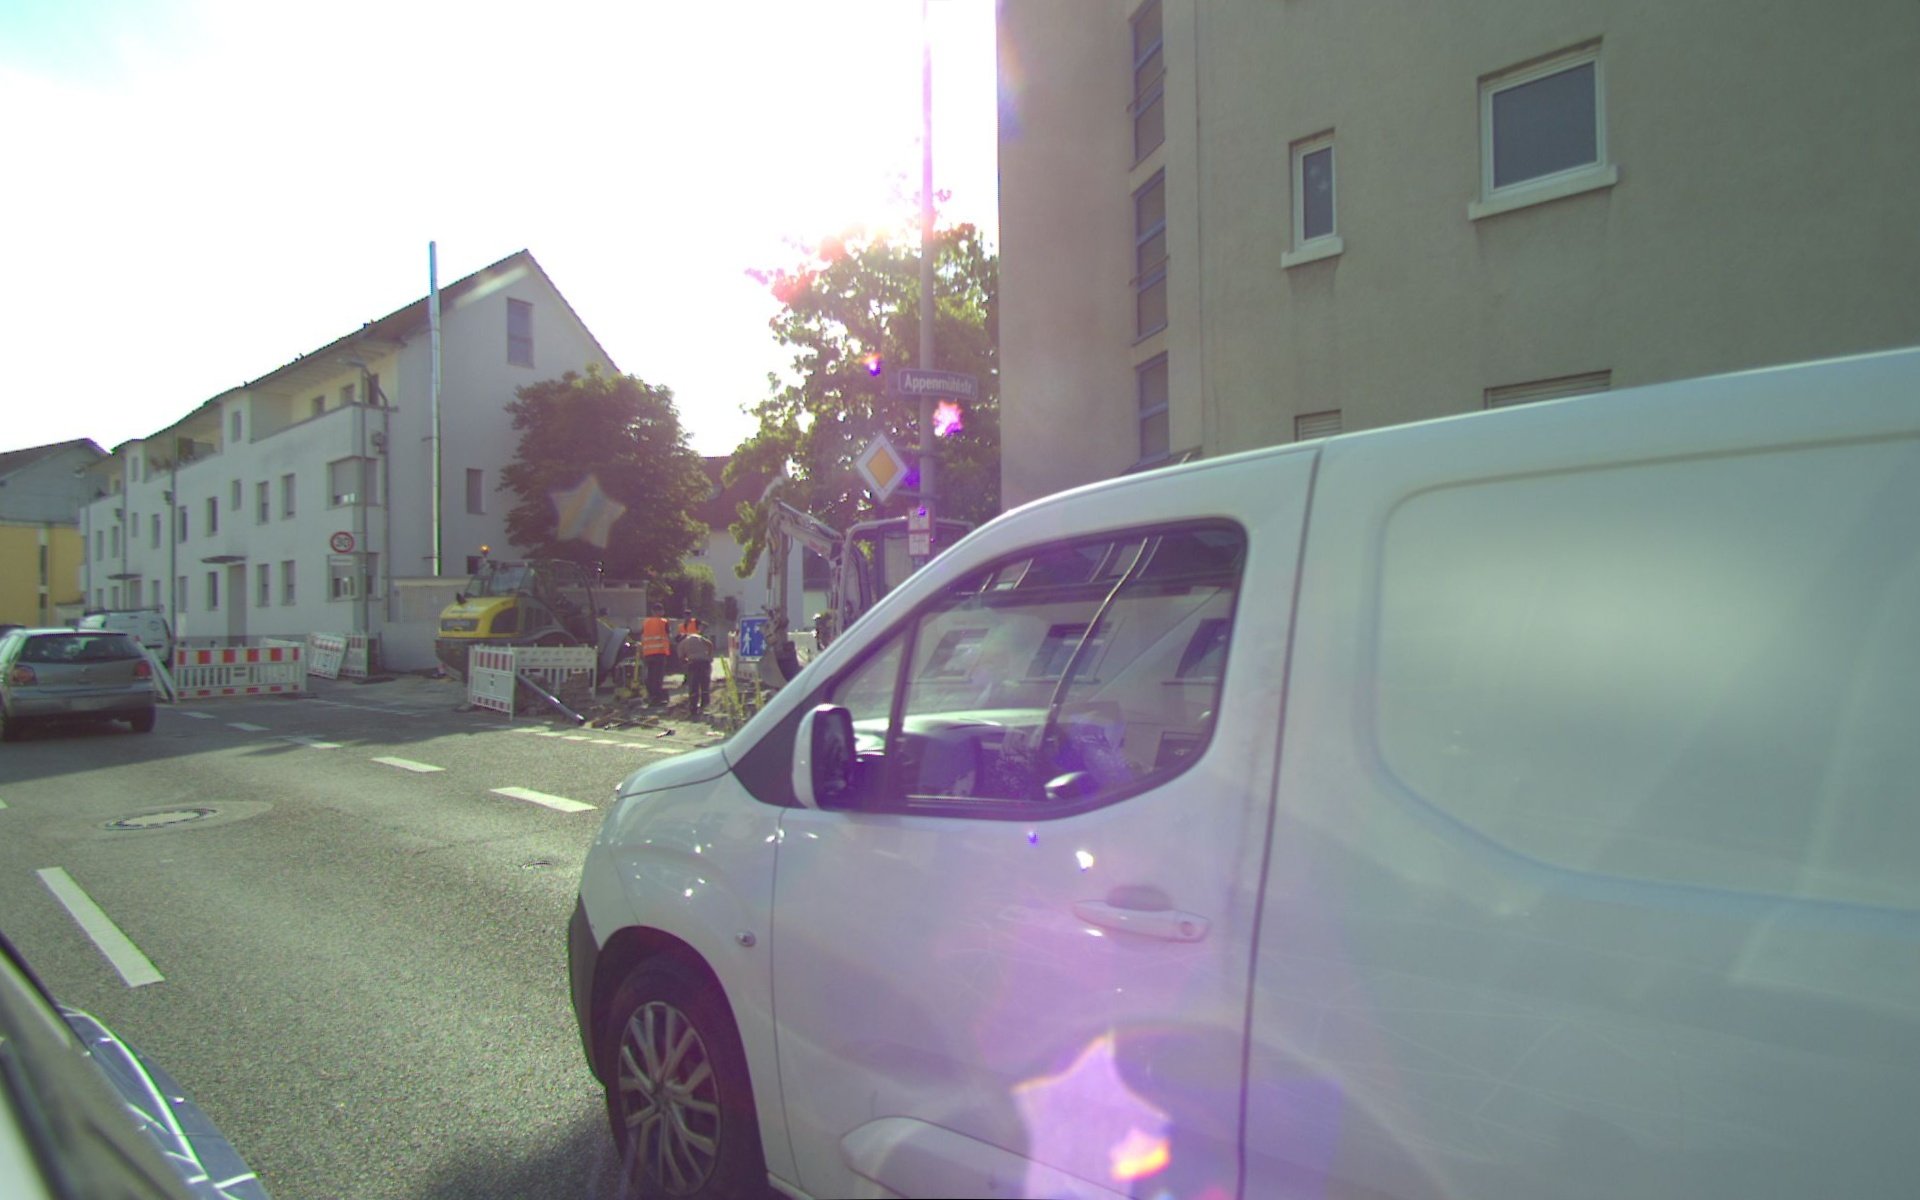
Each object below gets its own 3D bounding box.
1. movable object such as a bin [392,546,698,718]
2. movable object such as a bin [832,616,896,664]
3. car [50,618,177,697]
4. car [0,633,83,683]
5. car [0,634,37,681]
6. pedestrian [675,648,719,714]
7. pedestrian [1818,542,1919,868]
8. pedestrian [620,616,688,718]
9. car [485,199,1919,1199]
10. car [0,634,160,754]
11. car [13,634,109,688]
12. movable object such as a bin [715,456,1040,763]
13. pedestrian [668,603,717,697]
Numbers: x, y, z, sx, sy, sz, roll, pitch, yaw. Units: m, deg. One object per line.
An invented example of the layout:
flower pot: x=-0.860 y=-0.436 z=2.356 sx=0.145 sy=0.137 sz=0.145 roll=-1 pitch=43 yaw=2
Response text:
movable object such as a bin: x=-7.981 y=0.574 z=20.130 sx=2.103 sy=2.922 sz=5.460 roll=-3 pitch=-1 yaw=29
movable object such as a bin: x=-3.110 y=1.280 z=32.906 sx=1.971 sy=1.430 sz=1.416 roll=-1 pitch=1 yaw=-2
car: x=-23.172 y=1.546 z=27.651 sx=4.431 sy=1.975 sz=1.711 roll=-2 pitch=-1 yaw=37
car: x=-31.527 y=1.938 z=34.262 sx=4.252 sy=1.489 sz=1.713 roll=-2 pitch=0 yaw=34
car: x=-36.107 y=2.131 z=37.656 sx=4.252 sy=1.634 sz=1.713 roll=-2 pitch=-2 yaw=34
pedestrian: x=-4.635 y=1.408 z=17.833 sx=0.597 sy=1.108 sz=0.494 roll=-2 pitch=-1 yaw=42
pedestrian: x=5.595 y=0.588 z=5.965 sx=0.745 sy=1.832 sz=0.711 roll=-3 pitch=-2 yaw=42
pedestrian: x=-5.229 y=1.119 z=17.285 sx=0.993 sy=1.677 sz=0.661 roll=-2 pitch=-1 yaw=42
car: x=0.872 y=0.567 z=2.197 sx=4.336 sy=1.780 sz=1.901 roll=-2 pitch=-3 yaw=42
car: x=-12.818 y=1.230 z=14.290 sx=3.681 sy=1.466 sz=1.602 roll=-2 pitch=-2 yaw=39
car: x=-26.934 y=1.802 z=30.290 sx=3.508 sy=1.476 sz=1.479 roll=-2 pitch=-1 yaw=37
movable object such as a bin: x=-1.113 y=0.168 z=12.302 sx=3.897 sy=3.162 sz=1.631 roll=-3 pitch=-2 yaw=40
pedestrian: x=-6.008 y=1.105 z=22.713 sx=0.755 sy=2.034 sz=0.895 roll=0 pitch=-1 yaw=-36
